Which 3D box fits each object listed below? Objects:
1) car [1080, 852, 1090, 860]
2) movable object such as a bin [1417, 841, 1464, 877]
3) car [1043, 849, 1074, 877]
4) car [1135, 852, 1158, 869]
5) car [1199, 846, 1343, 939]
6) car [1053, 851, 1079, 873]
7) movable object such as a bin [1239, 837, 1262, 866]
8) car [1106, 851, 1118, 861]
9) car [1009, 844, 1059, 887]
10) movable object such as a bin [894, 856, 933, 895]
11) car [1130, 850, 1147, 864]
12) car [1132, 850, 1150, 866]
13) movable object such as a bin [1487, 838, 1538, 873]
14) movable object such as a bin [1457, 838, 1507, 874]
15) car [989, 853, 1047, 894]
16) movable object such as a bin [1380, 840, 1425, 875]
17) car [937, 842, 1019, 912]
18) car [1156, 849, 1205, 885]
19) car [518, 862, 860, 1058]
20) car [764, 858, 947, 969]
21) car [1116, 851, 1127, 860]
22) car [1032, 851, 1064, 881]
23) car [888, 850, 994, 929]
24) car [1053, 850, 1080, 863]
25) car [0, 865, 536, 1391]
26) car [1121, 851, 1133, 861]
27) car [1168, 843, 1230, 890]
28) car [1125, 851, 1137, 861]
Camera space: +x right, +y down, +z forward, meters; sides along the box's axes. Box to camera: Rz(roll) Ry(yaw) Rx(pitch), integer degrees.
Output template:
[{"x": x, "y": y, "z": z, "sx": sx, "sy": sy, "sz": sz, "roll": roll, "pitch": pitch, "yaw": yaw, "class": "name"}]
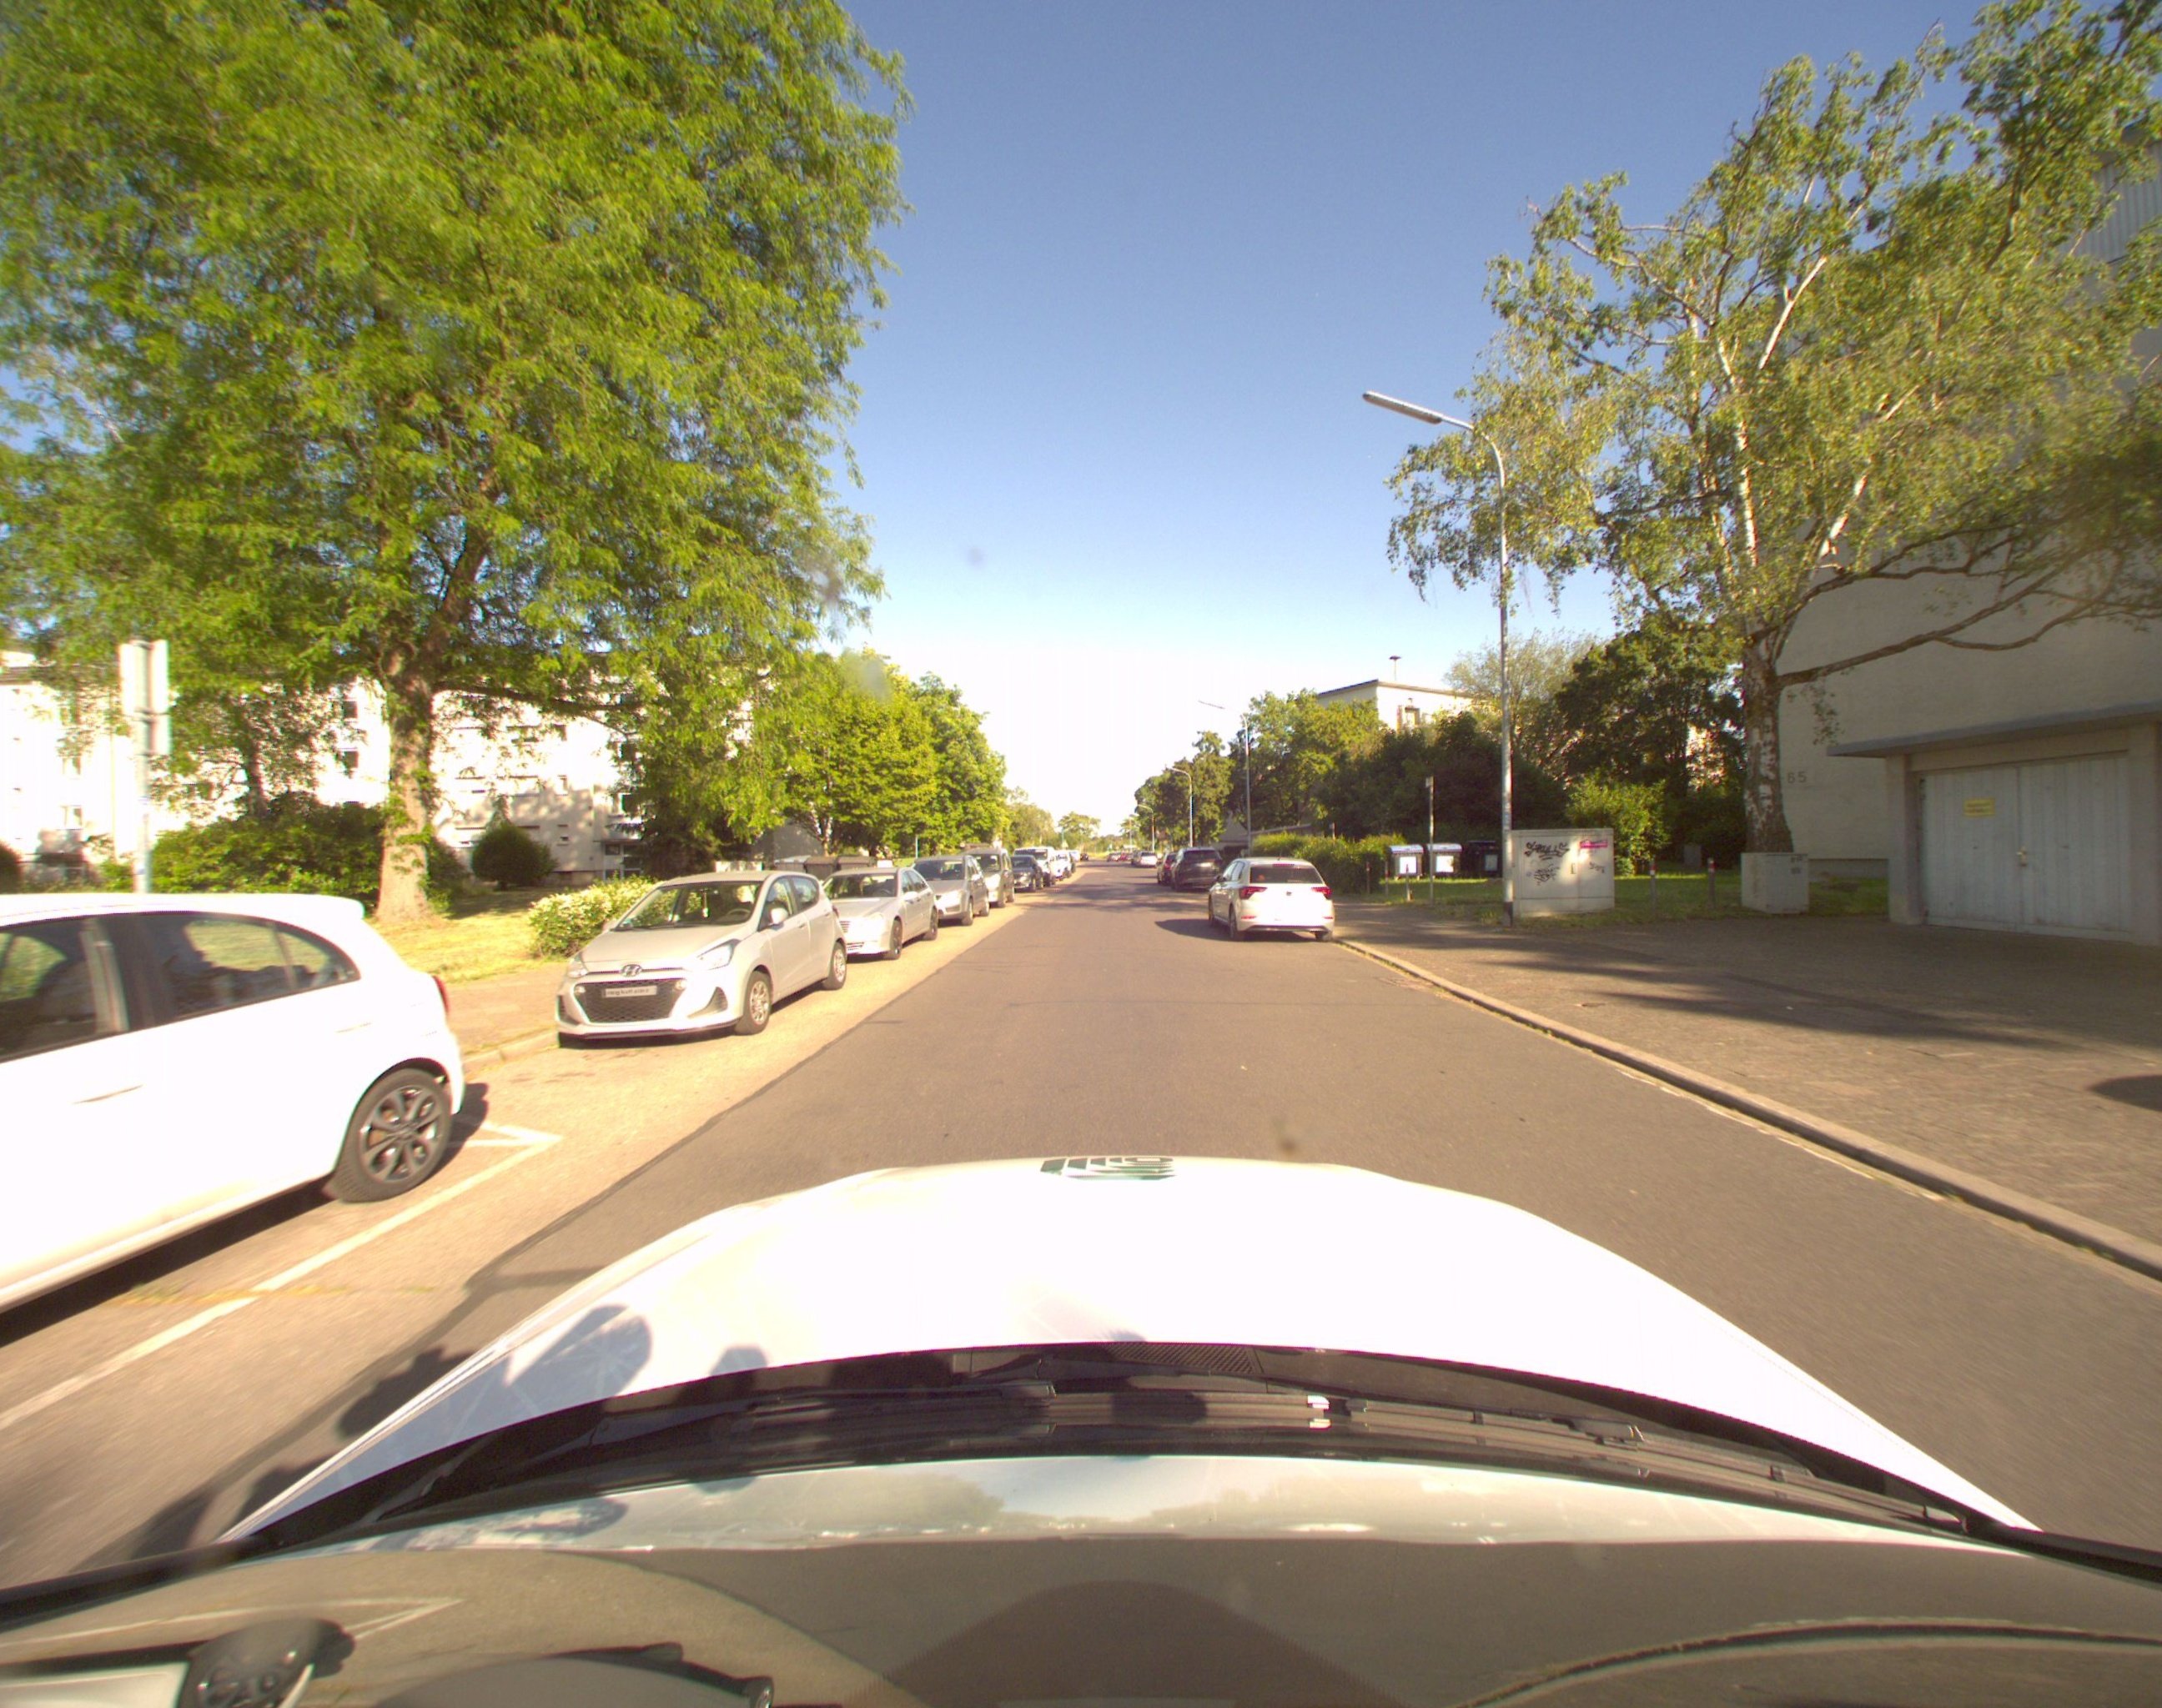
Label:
[{"x": 0.738, "y": 0.371, "z": 157.330, "sx": 1.790, "sy": 1.561, "sz": 3.951, "roll": 0, "pitch": 0, "yaw": 0, "class": "car"}, {"x": 13.965, "y": 0.197, "z": 31.670, "sx": 1.250, "sy": 1.353, "sz": 1.279, "roll": -1, "pitch": 0, "yaw": 1, "class": "movable object such as a bin"}, {"x": -1.466, "y": 0.576, "z": 54.598, "sx": 1.739, "sy": 1.732, "sz": 4.008, "roll": -2, "pitch": 0, "yaw": 2, "class": "car"}, {"x": 6.198, "y": 0.614, "z": 77.427, "sx": 1.790, "sy": 1.561, "sz": 3.951, "roll": 0, "pitch": 0, "yaw": 0, "class": "car"}, {"x": 3.407, "y": 0.624, "z": 15.344, "sx": 1.748, "sy": 1.513, "sz": 4.103, "roll": 1, "pitch": 0, "yaw": 0, "class": "car"}, {"x": -1.188, "y": 0.592, "z": 64.502, "sx": 1.739, "sy": 1.613, "sz": 4.310, "roll": -2, "pitch": 0, "yaw": 2, "class": "car"}, {"x": 8.732, "y": -0.138, "z": 42.042, "sx": 0.914, "sy": 1.454, "sz": 1.233, "roll": -1, "pitch": 0, "yaw": 2, "class": "movable object such as a bin"}, {"x": 4.969, "y": 0.303, "z": 130.527, "sx": 1.674, "sy": 1.513, "sz": 4.103, "roll": 1, "pitch": 0, "yaw": 0, "class": "car"}, {"x": -2.267, "y": 0.528, "z": 40.697, "sx": 1.907, "sy": 1.962, "sz": 5.091, "roll": -2, "pitch": 0, "yaw": 3, "class": "car"}, {"x": -6.356, "y": 0.795, "z": 30.948, "sx": 1.097, "sy": 1.420, "sz": 1.362, "roll": 1, "pitch": 0, "yaw": 2, "class": "movable object such as a bin"}, {"x": 6.885, "y": 0.369, "z": 97.887, "sx": 1.790, "sy": 1.643, "sz": 3.951, "roll": 0, "pitch": 0, "yaw": 0, "class": "car"}, {"x": 6.827, "y": 0.466, "z": 93.569, "sx": 1.790, "sy": 1.786, "sz": 3.951, "roll": 0, "pitch": 0, "yaw": 0, "class": "car"}, {"x": 17.116, "y": 0.065, "z": 32.342, "sx": 1.254, "sy": 1.353, "sz": 1.275, "roll": -1, "pitch": 0, "yaw": -8, "class": "movable object such as a bin"}, {"x": 15.673, "y": 0.085, "z": 31.858, "sx": 1.253, "sy": 1.353, "sz": 1.276, "roll": -1, "pitch": 0, "yaw": -6, "class": "movable object such as a bin"}, {"x": -2.586, "y": 0.770, "z": 34.267, "sx": 1.738, "sy": 1.533, "sz": 4.144, "roll": -2, "pitch": 0, "yaw": 5, "class": "car"}, {"x": 12.585, "y": 0.136, "z": 31.905, "sx": 1.250, "sy": 1.353, "sz": 1.279, "roll": -1, "pitch": 0, "yaw": 1, "class": "movable object such as a bin"}, {"x": -3.062, "y": 0.650, "z": 25.182, "sx": 1.848, "sy": 1.892, "sz": 4.418, "roll": -2, "pitch": 0, "yaw": 1, "class": "car"}, {"x": 4.489, "y": 0.549, "z": 37.402, "sx": 1.900, "sy": 1.531, "sz": 4.330, "roll": 0, "pitch": 0, "yaw": 2, "class": "car"}, {"x": -3.752, "y": 0.893, "z": 8.623, "sx": 1.681, "sy": 1.505, "sz": 3.818, "roll": -2, "pitch": 0, "yaw": 1, "class": "car"}, {"x": -3.624, "y": 0.871, "z": 13.994, "sx": 1.680, "sy": 1.465, "sz": 4.527, "roll": -3, "pitch": 0, "yaw": 2, "class": "car"}, {"x": 7.411, "y": 0.272, "z": 149.922, "sx": 1.790, "sy": 1.643, "sz": 3.951, "roll": 0, "pitch": 0, "yaw": 0, "class": "car"}, {"x": -1.936, "y": 0.692, "z": 48.851, "sx": 1.741, "sy": 1.669, "sz": 4.377, "roll": -2, "pitch": 0, "yaw": 0, "class": "car"}, {"x": -3.209, "y": 0.758, "z": 19.451, "sx": 1.704, "sy": 1.600, "sz": 3.986, "roll": -4, "pitch": 0, "yaw": 1, "class": "car"}, {"x": -2.160, "y": 0.371, "z": 119.918, "sx": 4.044, "sy": 1.992, "sz": 1.800, "roll": 0, "pitch": 0, "yaw": -3, "class": "car"}, {"x": -4.097, "y": 0.874, "z": 2.804, "sx": 1.680, "sy": 1.535, "sz": 3.892, "roll": -2, "pitch": 0, "yaw": 2, "class": "car"}, {"x": 7.864, "y": 0.283, "z": 140.153, "sx": 1.790, "sy": 1.643, "sz": 3.951, "roll": 0, "pitch": 0, "yaw": 0, "class": "car"}, {"x": 4.459, "y": 0.441, "z": 31.461, "sx": 1.900, "sy": 1.639, "sz": 4.631, "roll": 0, "pitch": 0, "yaw": 2, "class": "car"}, {"x": 8.148, "y": 0.261, "z": 132.779, "sx": 1.790, "sy": 1.548, "sz": 3.951, "roll": 0, "pitch": 0, "yaw": 0, "class": "car"}]
